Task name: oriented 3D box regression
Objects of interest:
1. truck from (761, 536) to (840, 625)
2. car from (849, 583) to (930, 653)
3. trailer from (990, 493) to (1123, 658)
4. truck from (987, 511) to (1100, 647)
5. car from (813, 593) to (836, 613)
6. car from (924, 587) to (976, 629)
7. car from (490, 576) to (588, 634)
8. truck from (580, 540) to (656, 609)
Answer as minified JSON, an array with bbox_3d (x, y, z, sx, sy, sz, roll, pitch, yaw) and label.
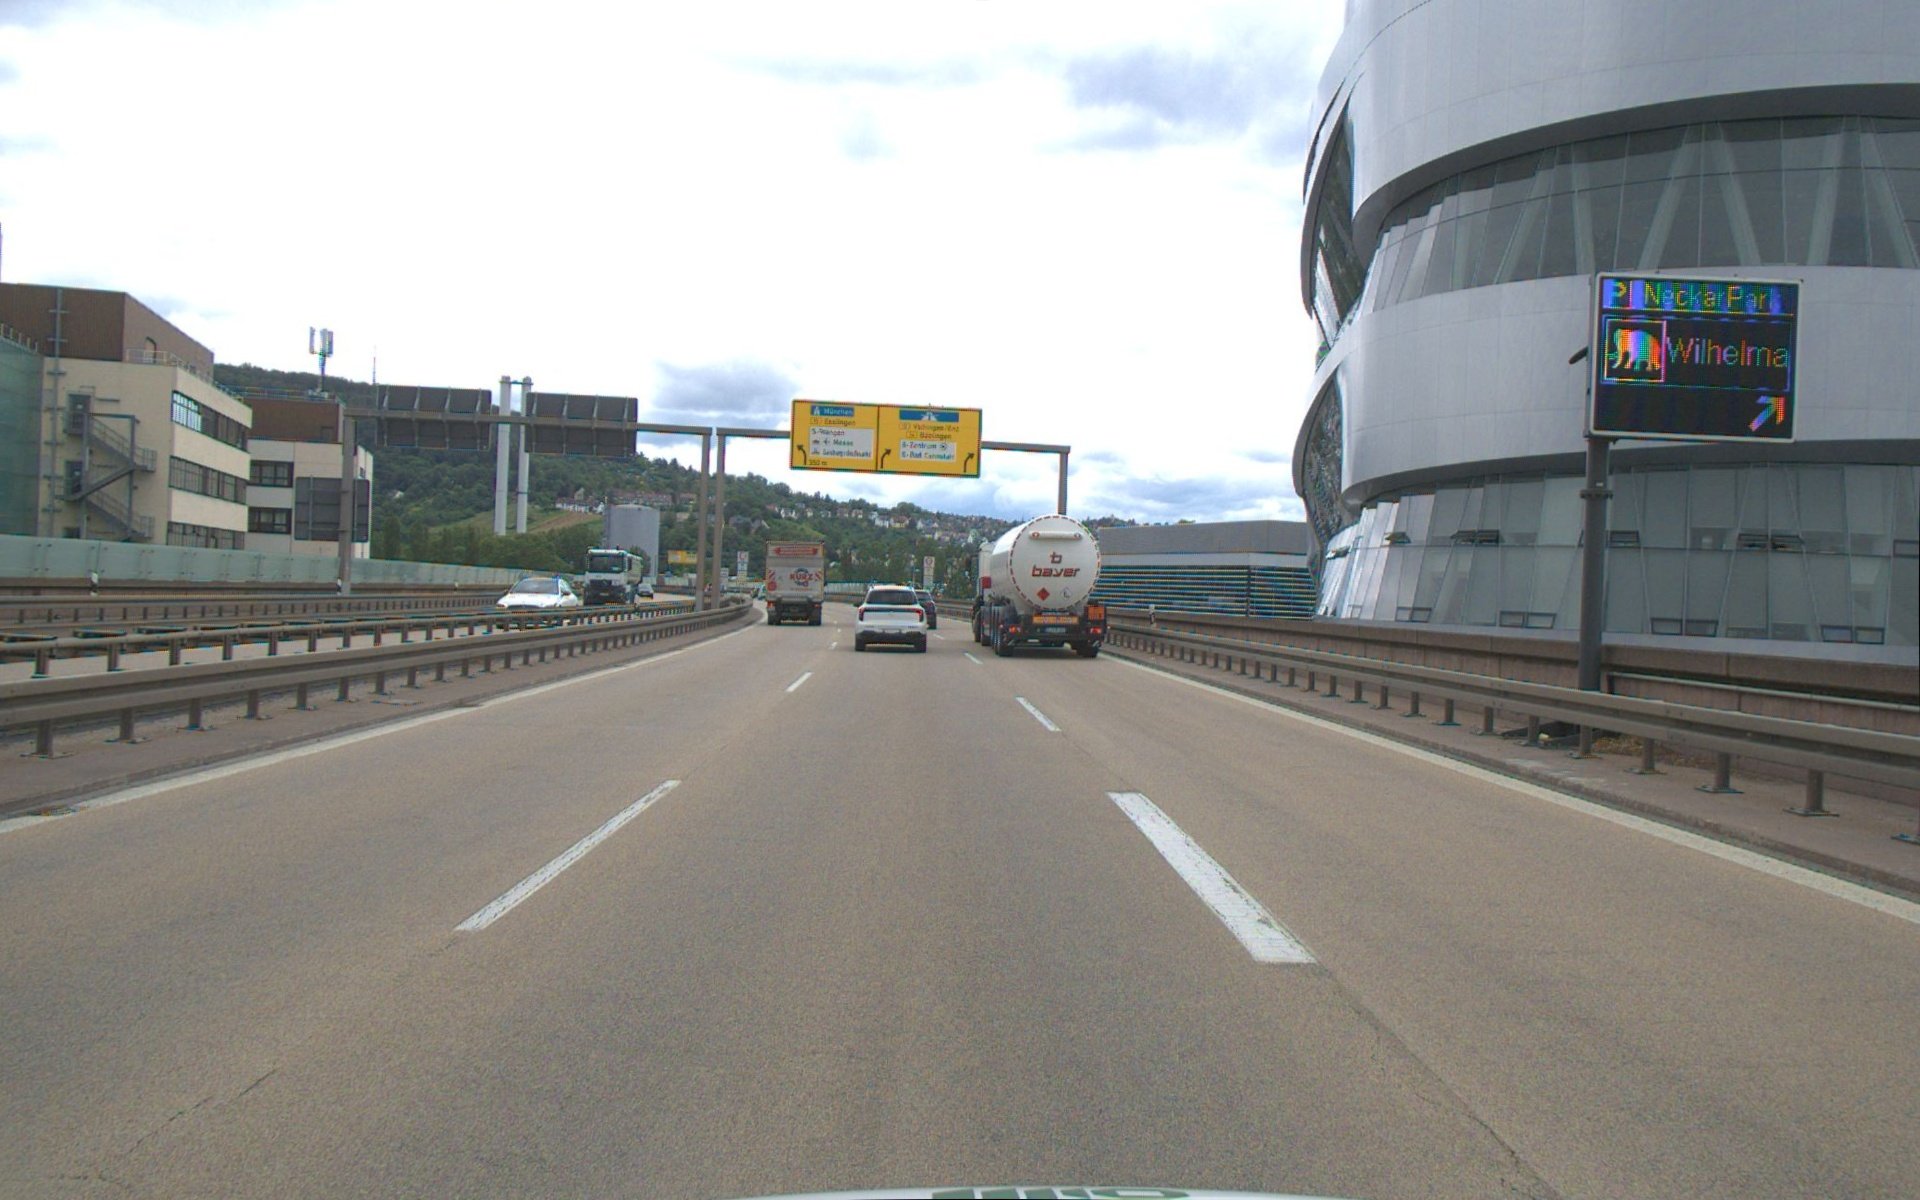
[{"bbox_3d":[-7.103,-0.830,74.849,2.995,3.755,8.300,1,0,-2],"label":"truck"},{"bbox_3d":[-1.810,0.466,43.603,1.953,1.704,4.407,1,0,-1],"label":"car"},{"bbox_3d":[2.355,-0.560,43.211,2.994,3.856,8.303,1,0,0],"label":"trailer"},{"bbox_3d":[2.363,-0.554,48.847,2.952,3.721,6.273,1,-1,0],"label":"truck"},{"bbox_3d":[-11.805,0.239,144.739,1.649,1.679,4.359,2,0,-1],"label":"car"},{"bbox_3d":[-0.467,0.351,71.316,1.954,1.704,4.404,1,0,-4],"label":"car"},{"bbox_3d":[-12.570,0.152,49.645,1.954,1.634,4.804,1,0,-4],"label":"car"},{"bbox_3d":[-20.365,-1.407,99.151,2.997,3.842,12.504,1,0,-5],"label":"truck"}]
